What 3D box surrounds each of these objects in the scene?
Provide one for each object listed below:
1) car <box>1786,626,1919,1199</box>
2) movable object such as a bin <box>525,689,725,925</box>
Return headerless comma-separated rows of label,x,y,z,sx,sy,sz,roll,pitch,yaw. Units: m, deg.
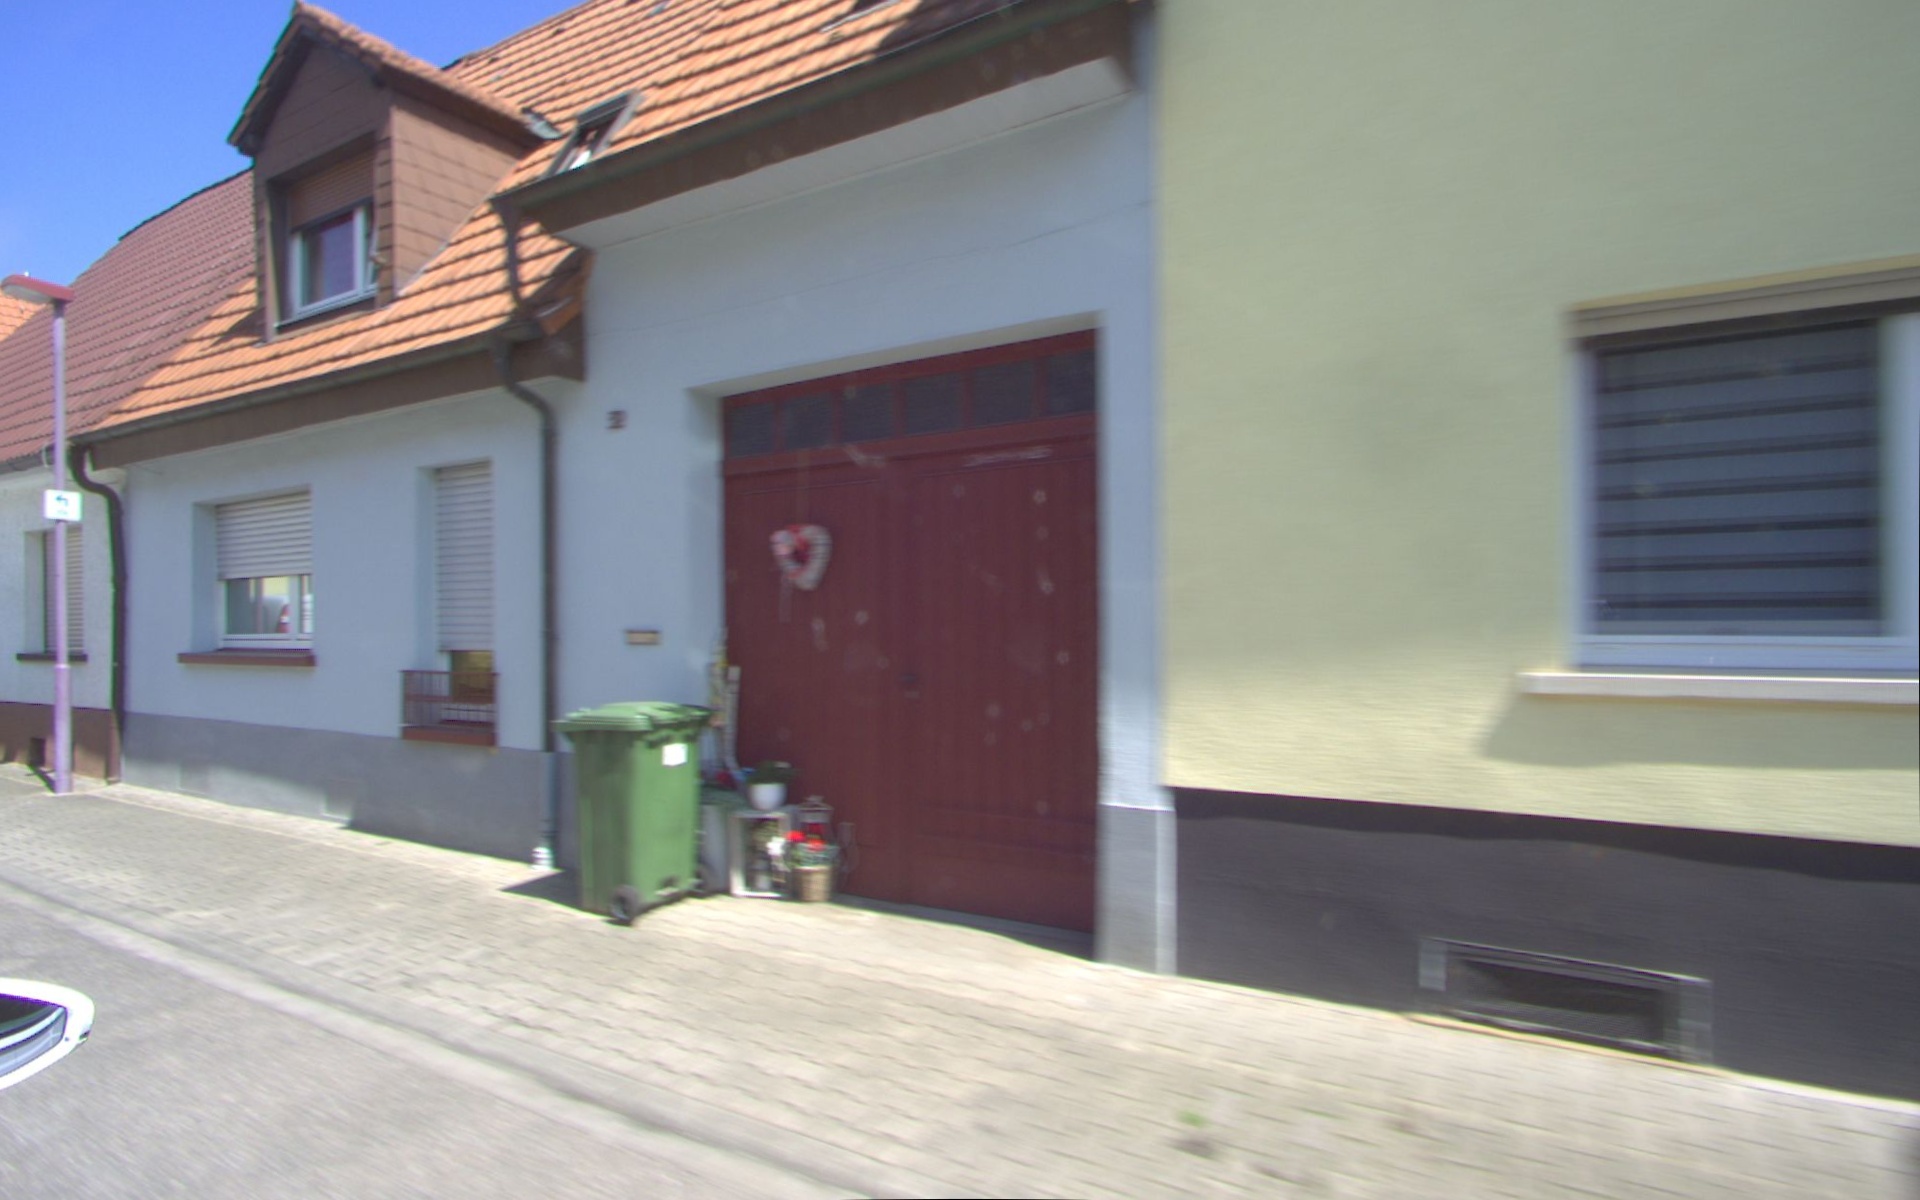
car,3.462,0.733,0.282,4.705,1.466,1.837,-1,-2,30
movable object such as a bin,-1.786,1.052,5.373,0.801,1.085,0.658,0,0,29
